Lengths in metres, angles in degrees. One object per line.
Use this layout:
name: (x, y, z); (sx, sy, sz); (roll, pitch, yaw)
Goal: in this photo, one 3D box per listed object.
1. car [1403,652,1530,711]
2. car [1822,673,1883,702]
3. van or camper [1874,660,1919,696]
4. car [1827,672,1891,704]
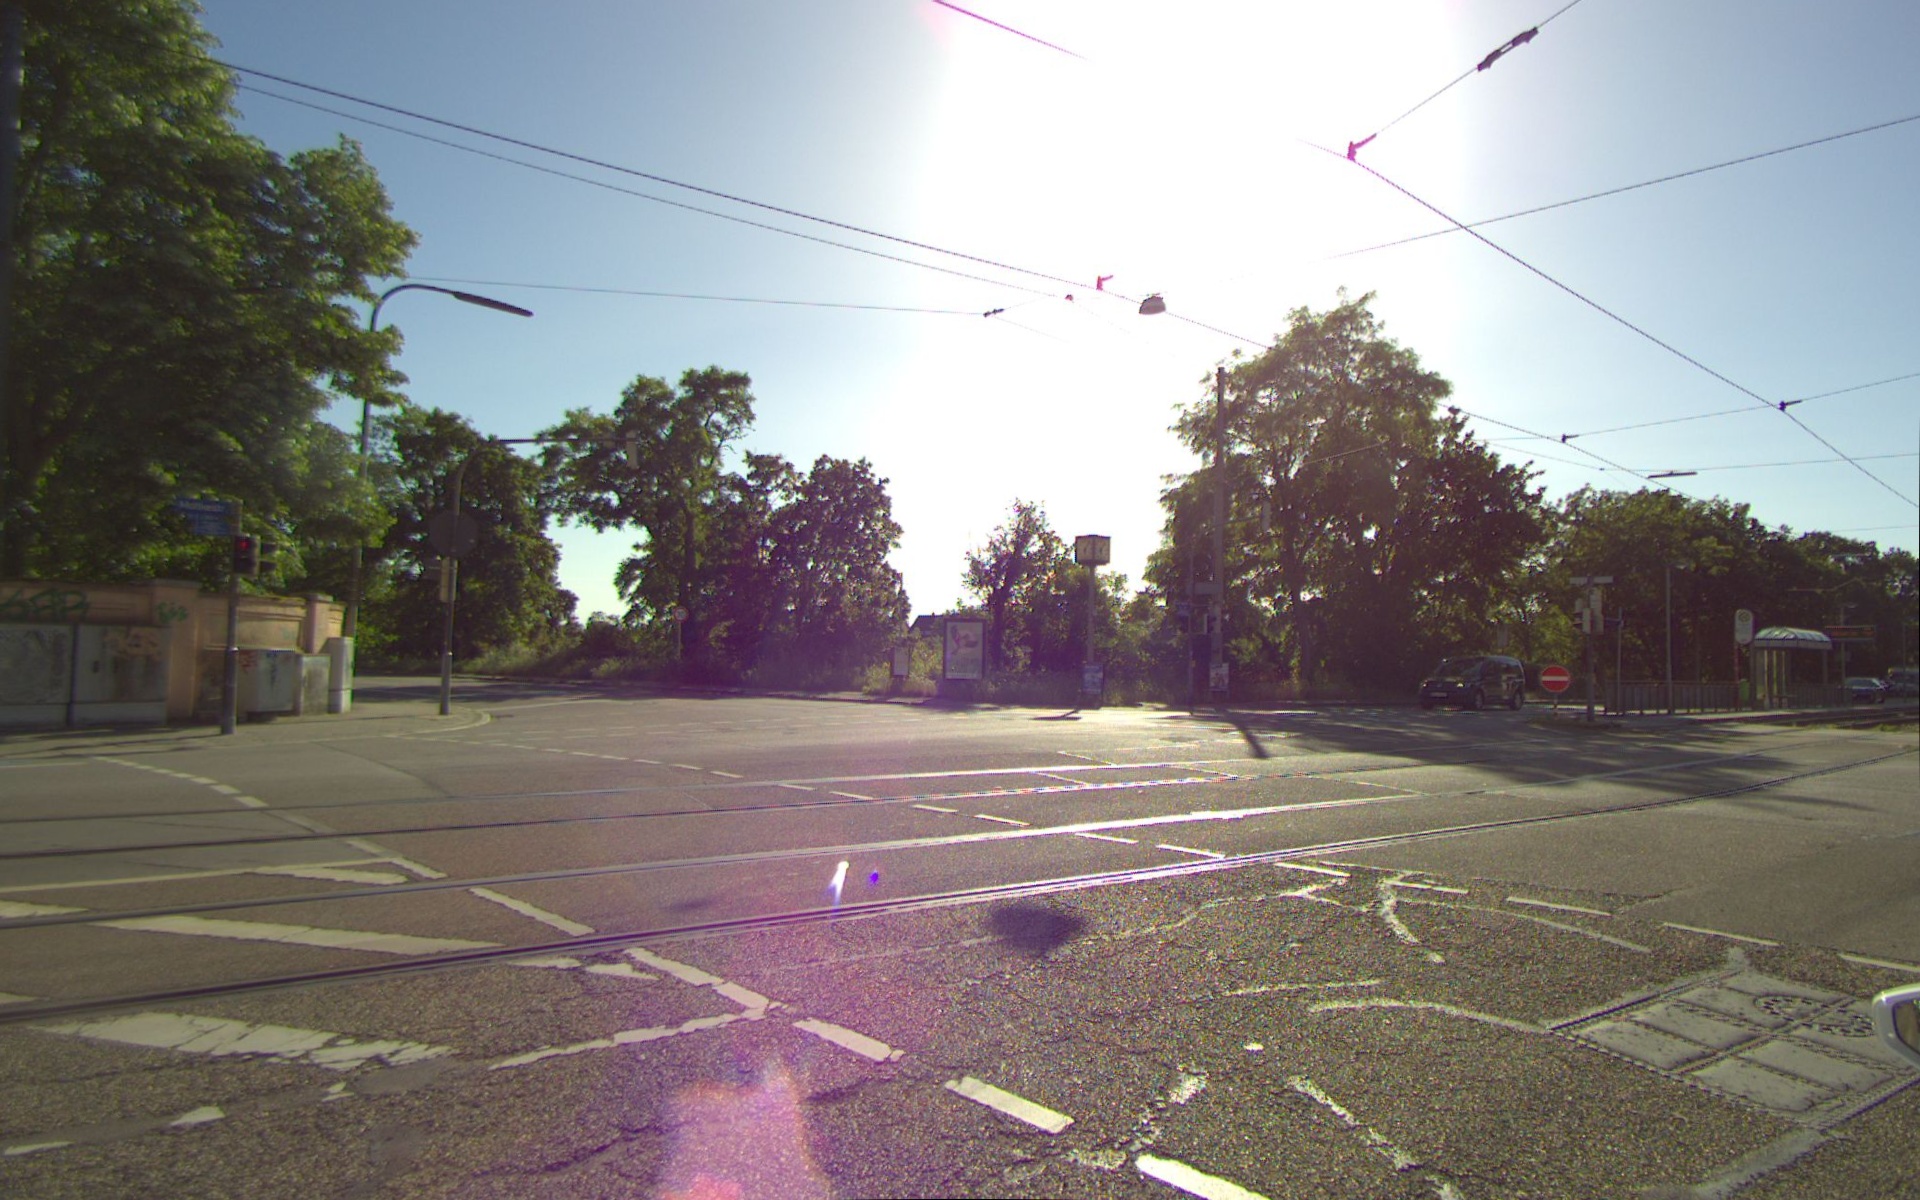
car: (16.836, 2.708, 33.264); (4.991, 1.789, 1.977); (5, -5, -40)
car: (51.800, 5.075, 58.276); (3.964, 1.587, 1.907); (4, -4, -37)
van or camper: (86.222, 7.145, 92.112); (6.731, 3.146, 2.569); (4, -4, -39)
car: (44.772, 4.380, 49.995); (3.967, 1.485, 1.790); (4, -4, -39)
